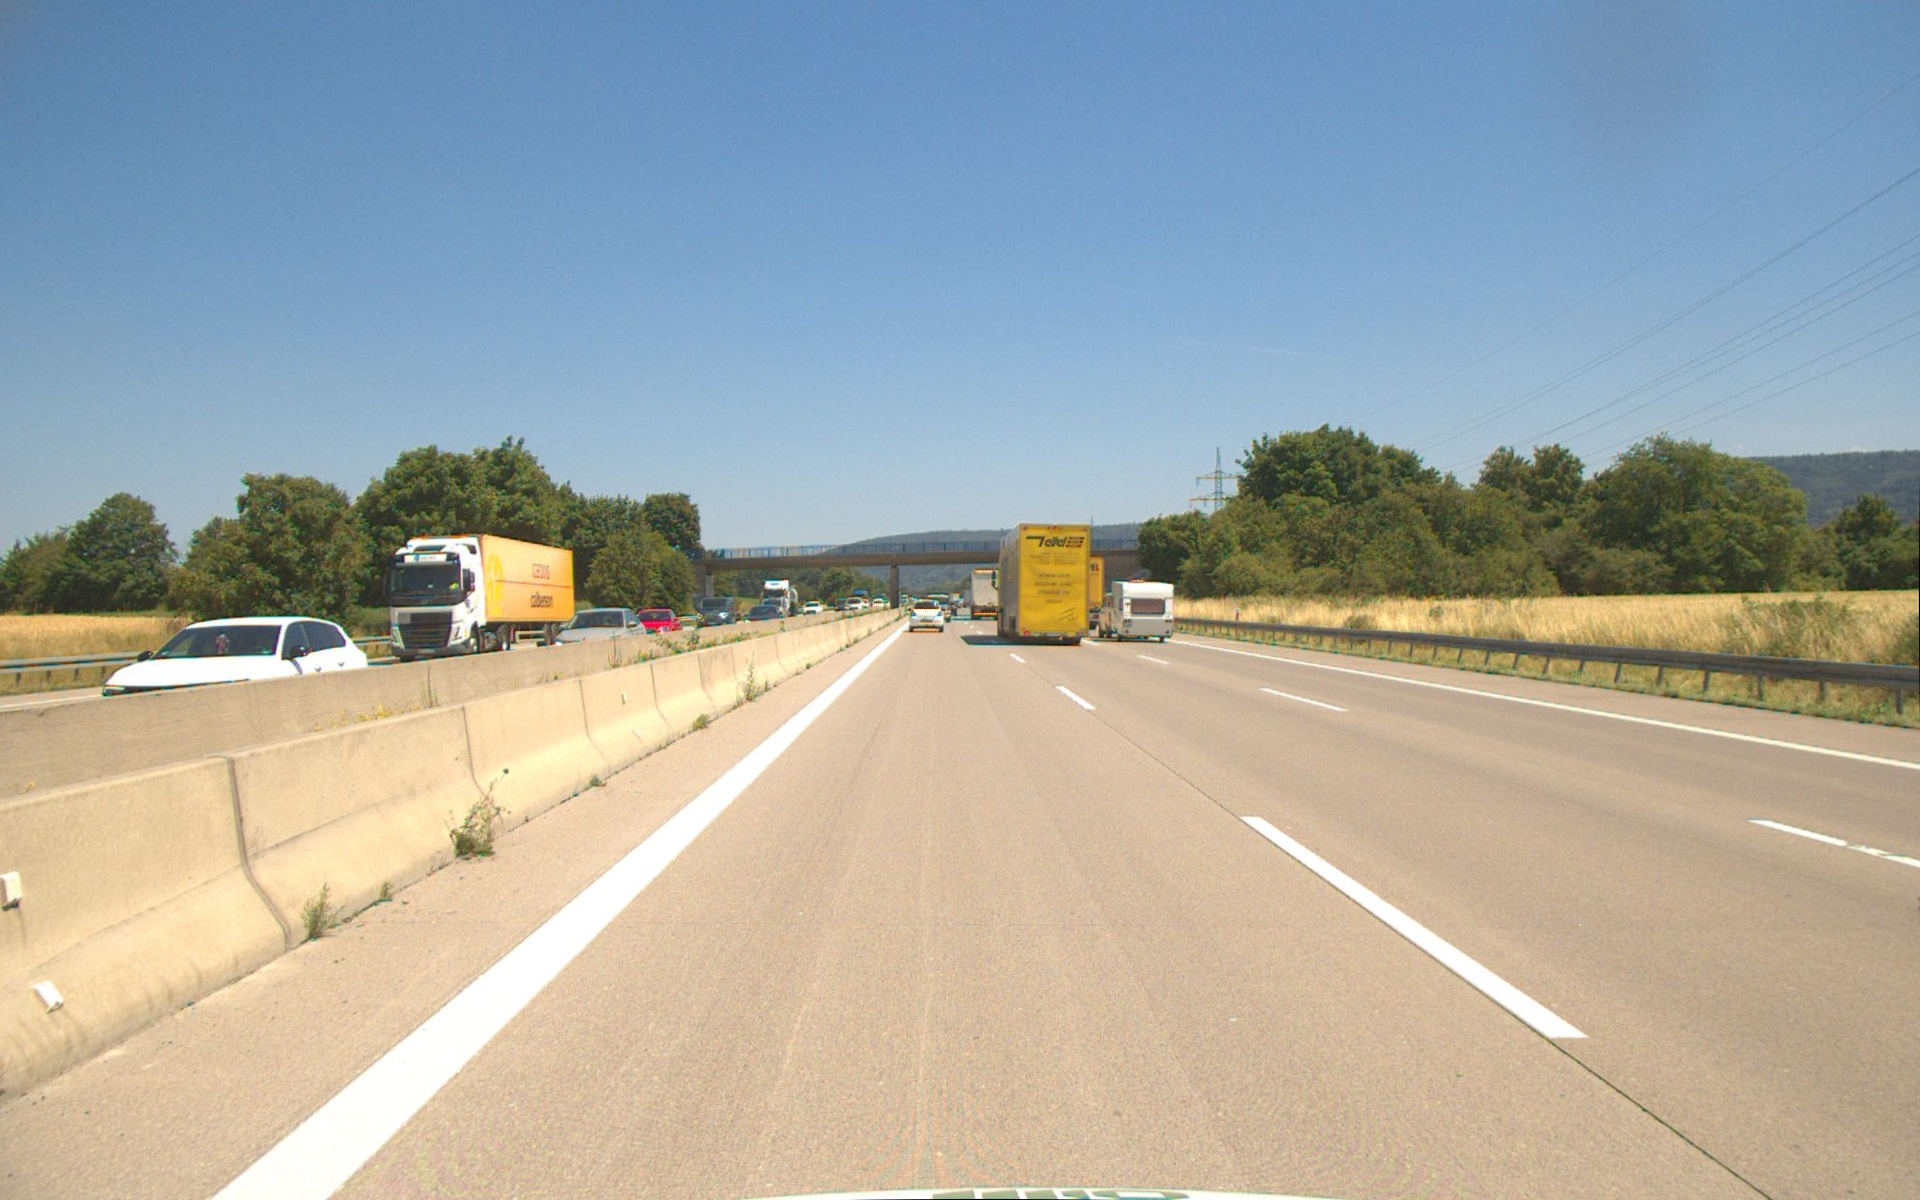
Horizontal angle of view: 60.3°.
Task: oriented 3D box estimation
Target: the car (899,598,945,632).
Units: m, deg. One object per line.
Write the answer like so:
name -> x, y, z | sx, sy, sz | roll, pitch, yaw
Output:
car -> -1.821, 0.713, 80.578 | 2.064, 1.563, 4.122 | 1, 0, 0

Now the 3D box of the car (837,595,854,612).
car -> -15.082, 0.417, 218.122 | 1.953, 2.175, 5.881 | -2, 0, -1

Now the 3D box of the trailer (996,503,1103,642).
trailer -> 3.163, -0.947, 62.626 | 3.150, 4.643, 13.455 | 1, 0, -1

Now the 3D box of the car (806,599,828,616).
car -> -14.887, 0.766, 172.567 | 1.884, 1.639, 4.684 | -2, 0, -1

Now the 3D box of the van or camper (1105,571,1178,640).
van or camper -> 7.158, 0.188, 65.744 | 2.179, 2.575, 5.429 | 1, 0, -1

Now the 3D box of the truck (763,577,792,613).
truck -> -19.223, -0.553, 174.203 | 2.549, 3.651, 4.718 | 1, 0, -1

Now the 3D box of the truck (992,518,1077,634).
truck -> 3.062, -0.979, 69.600 | 3.150, 4.643, 5.835 | 1, 0, -1

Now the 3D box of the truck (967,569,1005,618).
truck -> 2.072, -0.542, 133.181 | 2.763, 3.827, 6.282 | 1, 0, -1

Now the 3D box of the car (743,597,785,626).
car -> -9.824, 0.565, 83.073 | 1.656, 1.355, 3.999 | 1, 0, -1

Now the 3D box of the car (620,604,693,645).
car -> -11.562, 0.890, 63.264 | 1.953, 1.419, 4.716 | -2, 0, -1

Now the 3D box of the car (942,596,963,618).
car -> -0.769, 0.663, 162.458 | 1.953, 2.049, 3.999 | 1, 0, -1

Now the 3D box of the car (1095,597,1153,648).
car -> 6.949, 0.935, 70.466 | 1.953, 2.049, 3.999 | 1, 0, -1

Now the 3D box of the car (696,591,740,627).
car -> -14.275, 0.500, 97.863 | 1.892, 2.035, 5.516 | 1, 1, -1

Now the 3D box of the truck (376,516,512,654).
truck -> -17.060, -0.485, 55.026 | 2.810, 4.269, 5.228 | -2, 0, -1

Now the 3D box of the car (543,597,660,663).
car -> -8.913, 0.709, 41.487 | 1.953, 1.511, 4.709 | -1, 0, -1

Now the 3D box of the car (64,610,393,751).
car -> -8.687, 0.879, 20.177 | 1.953, 1.388, 4.669 | -2, 0, -1

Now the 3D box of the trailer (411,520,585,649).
trailer -> -17.230, -0.512, 63.028 | 2.815, 4.271, 14.137 | -2, 0, -1

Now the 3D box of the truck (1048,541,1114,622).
truck -> 6.893, -1.030, 95.895 | 2.938, 4.390, 9.682 | 1, 0, -1

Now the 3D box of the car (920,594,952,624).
car -> -1.700, 0.624, 118.076 | 2.208, 2.049, 4.297 | 1, 0, 0
